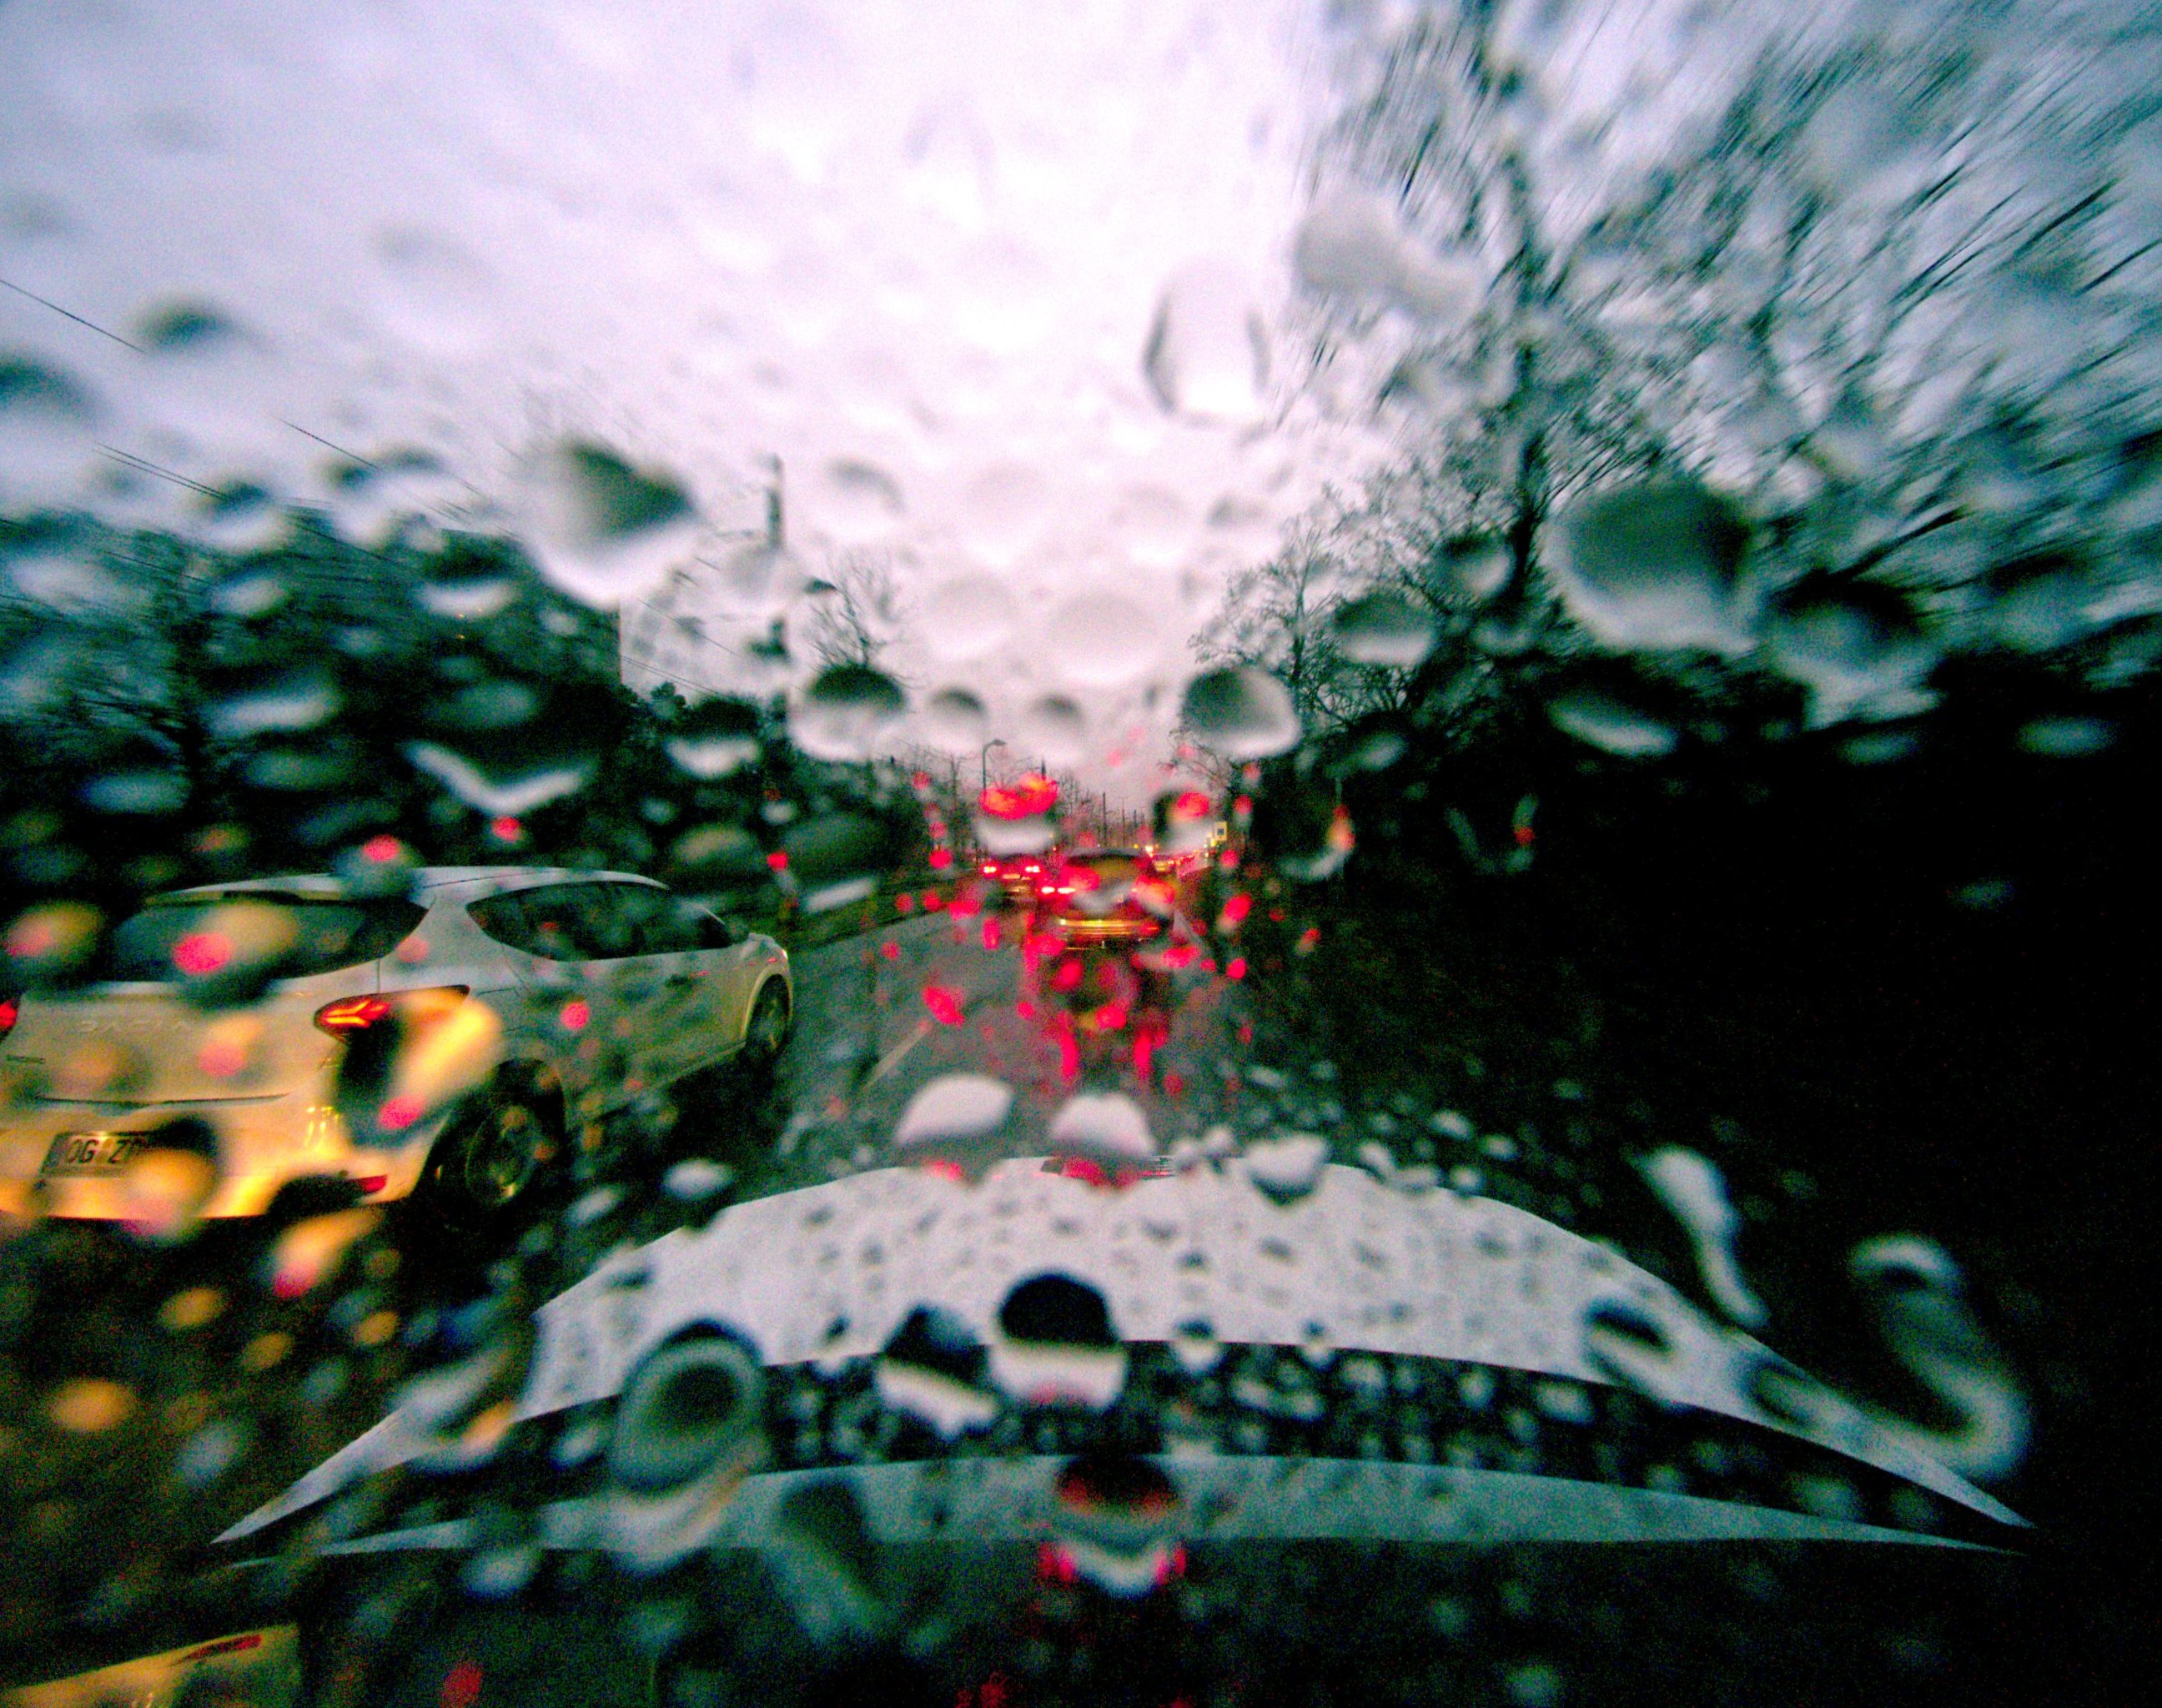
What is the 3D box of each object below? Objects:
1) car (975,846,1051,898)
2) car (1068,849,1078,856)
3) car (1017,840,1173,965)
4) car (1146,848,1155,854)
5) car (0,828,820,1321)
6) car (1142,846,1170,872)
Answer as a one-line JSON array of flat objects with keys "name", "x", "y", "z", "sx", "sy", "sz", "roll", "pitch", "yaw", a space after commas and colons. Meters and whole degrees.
[{"name": "car", "x": -2.043, "y": 0.498, "z": 25.613, "sx": 1.873, "sy": 1.459, "sz": 4.003, "roll": -2, "pitch": 1, "yaw": 2}, {"name": "car", "x": -1.956, "y": -0.300, "z": 205.238, "sx": 1.982, "sy": 1.658, "sz": 4.009, "roll": 0, "pitch": 0, "yaw": 8}, {"name": "car", "x": 0.230, "y": 0.611, "z": 12.539, "sx": 1.991, "sy": 1.584, "sz": 4.001, "roll": -1, "pitch": 0, "yaw": 1}, {"name": "car", "x": 18.092, "y": -0.795, "z": 212.436, "sx": 1.982, "sy": 1.666, "sz": 3.845, "roll": -2, "pitch": 0, "yaw": 8}, {"name": "car", "x": -3.106, "y": 0.699, "z": 4.634, "sx": 1.702, "sy": 1.525, "sz": 4.137, "roll": -2, "pitch": 0, "yaw": 2}, {"name": "car", "x": 4.760, "y": 0.321, "z": 51.876, "sx": 1.701, "sy": 1.558, "sz": 4.001, "roll": -2, "pitch": 0, "yaw": 4}]
